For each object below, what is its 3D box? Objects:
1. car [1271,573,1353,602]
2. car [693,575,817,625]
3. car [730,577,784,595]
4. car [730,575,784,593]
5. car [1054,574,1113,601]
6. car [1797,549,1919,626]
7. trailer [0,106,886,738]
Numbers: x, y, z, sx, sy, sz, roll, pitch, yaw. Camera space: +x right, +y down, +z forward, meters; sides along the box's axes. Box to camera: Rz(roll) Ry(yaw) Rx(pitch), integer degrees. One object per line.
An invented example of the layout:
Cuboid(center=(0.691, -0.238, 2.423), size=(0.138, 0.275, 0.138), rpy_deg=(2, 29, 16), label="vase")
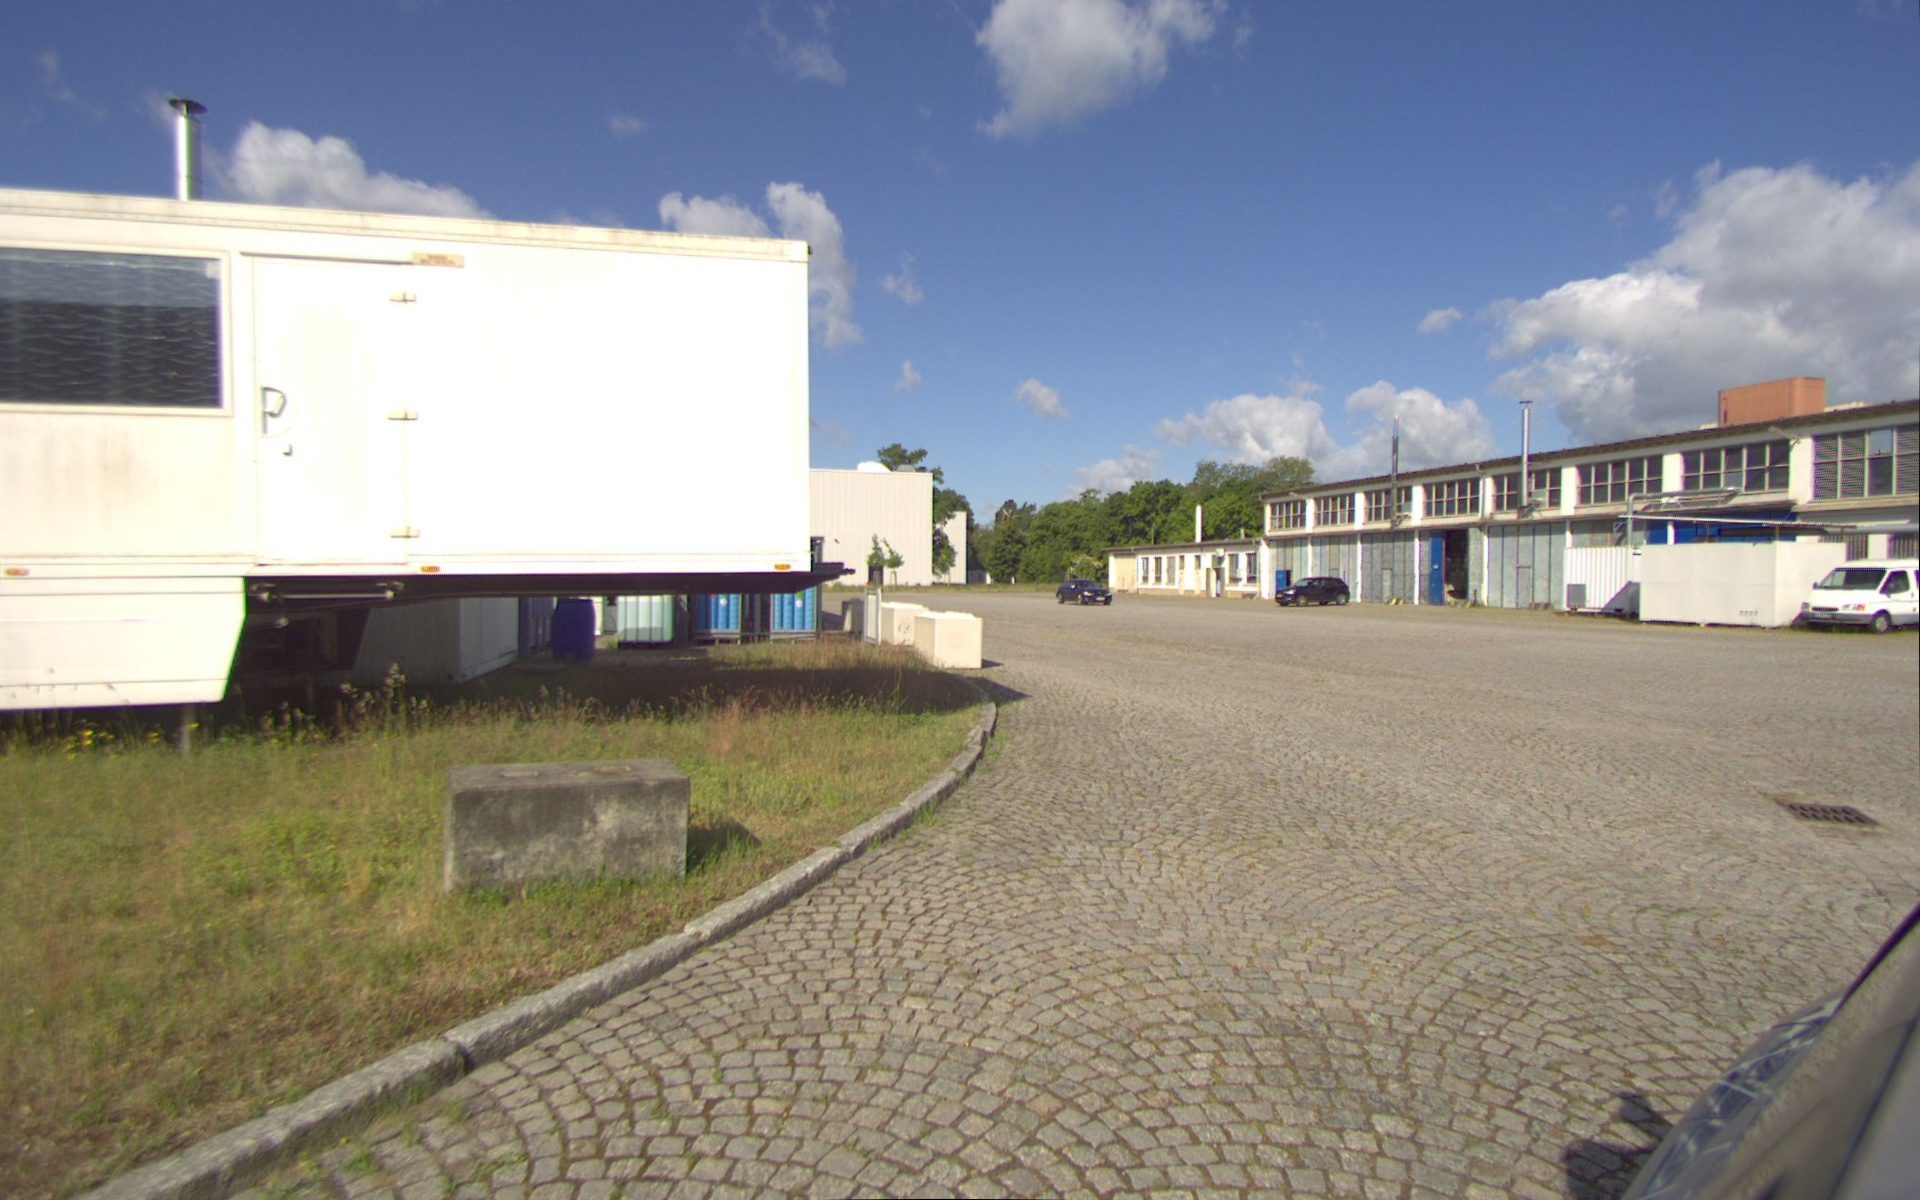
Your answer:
Cuboid(center=(19.463, -0.712, 55.992), size=(3.991, 1.488, 1.744), rpy_deg=(-1, 1, -17), label="car")
Cuboid(center=(-6.075, -0.026, 29.936), size=(3.400, 1.393, 1.615), rpy_deg=(0, 1, -19), label="car")
Cuboid(center=(-16.331, -1.162, 81.343), size=(4.100, 1.421, 1.744), rpy_deg=(0, 1, -17), label="car")
Cuboid(center=(-16.981, -1.311, 84.528), size=(4.267, 1.488, 1.744), rpy_deg=(0, 1, -17), label="car")
Cuboid(center=(6.800, -0.710, 56.192), size=(1.704, 1.447, 4.085), rpy_deg=(0, 1, -18), label="car")
Cuboid(center=(27.282, -0.400, 29.449), size=(4.705, 2.107, 2.014), rpy_deg=(-1, 1, -12), label="car")
Cuboid(center=(-6.072, -1.144, 7.770), size=(10.658, 3.960, 2.787), rpy_deg=(0, 1, -13), label="trailer")
